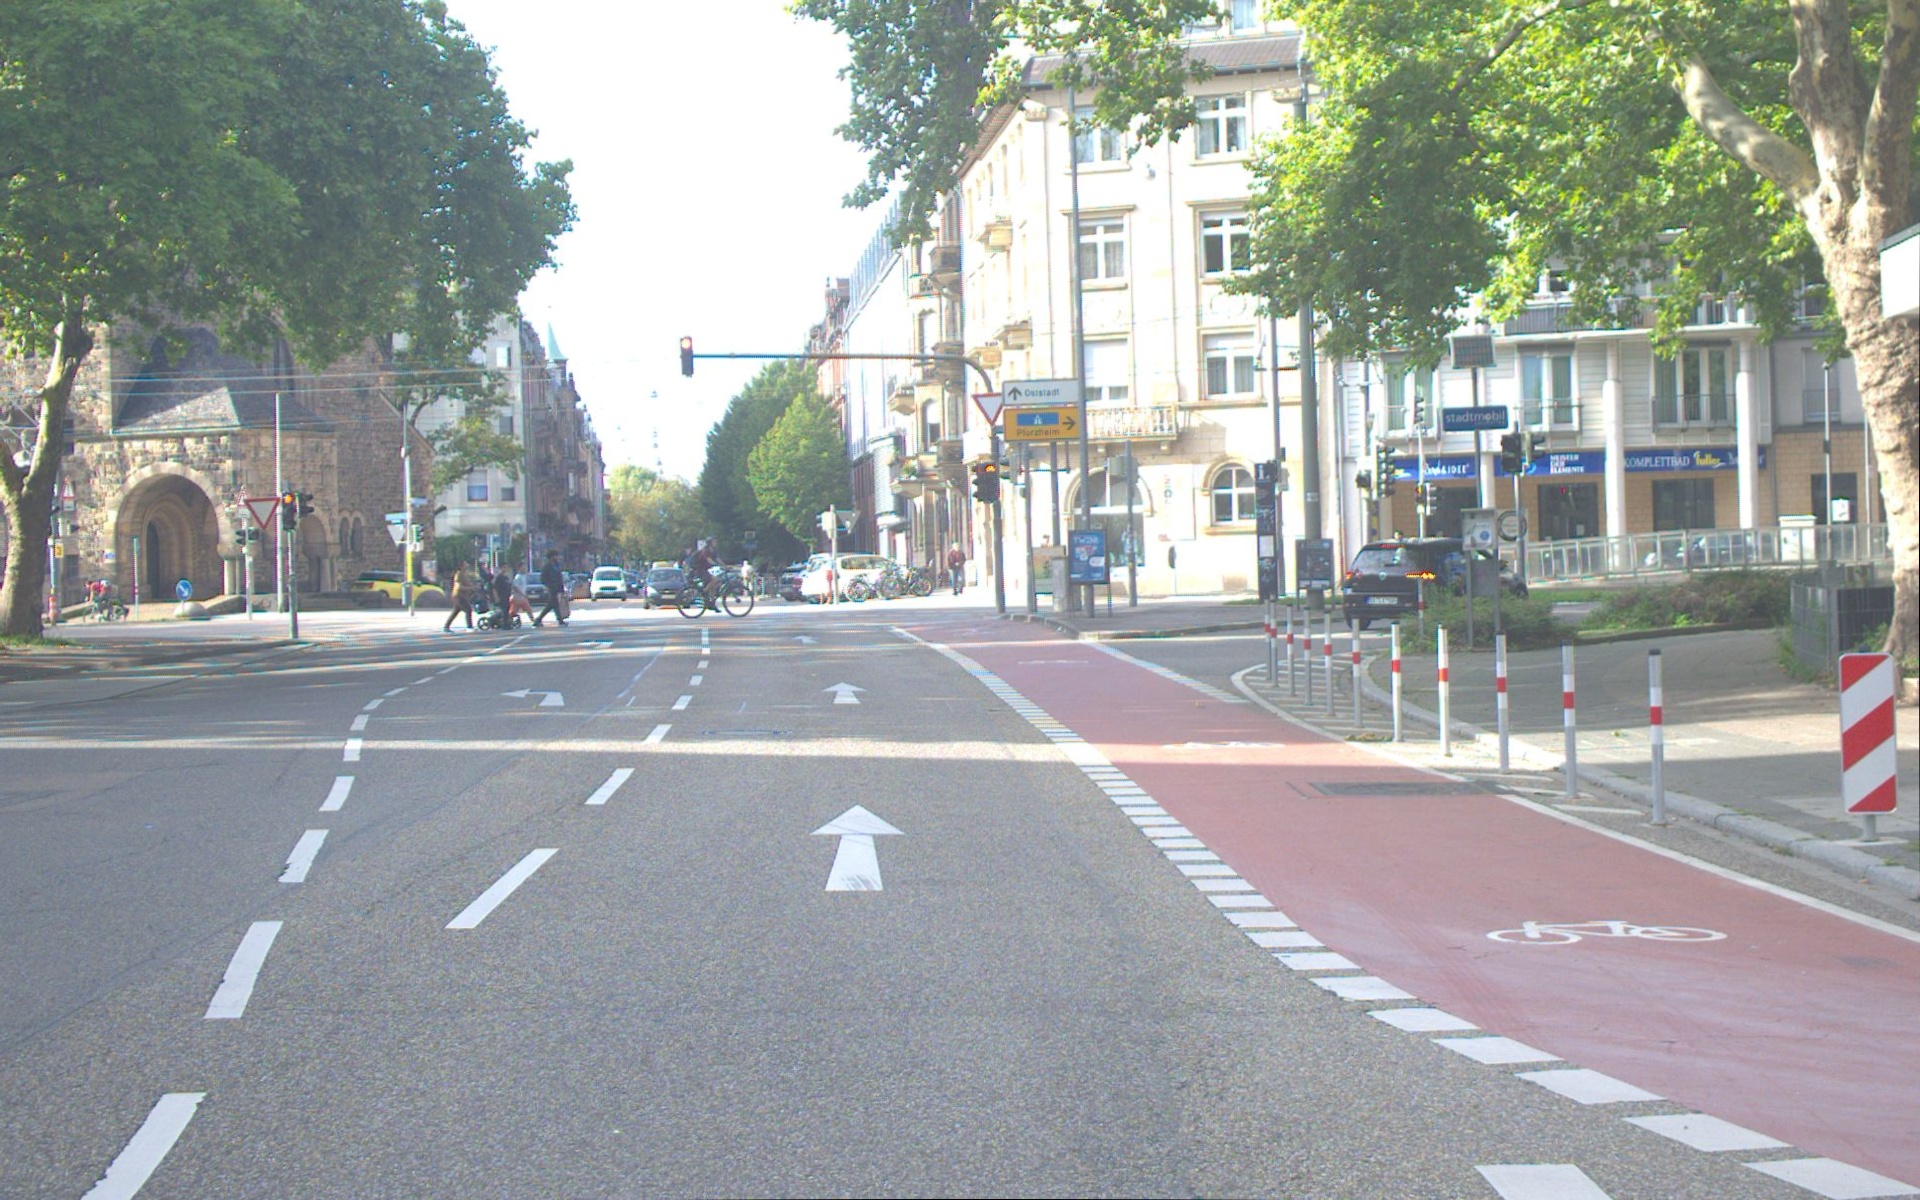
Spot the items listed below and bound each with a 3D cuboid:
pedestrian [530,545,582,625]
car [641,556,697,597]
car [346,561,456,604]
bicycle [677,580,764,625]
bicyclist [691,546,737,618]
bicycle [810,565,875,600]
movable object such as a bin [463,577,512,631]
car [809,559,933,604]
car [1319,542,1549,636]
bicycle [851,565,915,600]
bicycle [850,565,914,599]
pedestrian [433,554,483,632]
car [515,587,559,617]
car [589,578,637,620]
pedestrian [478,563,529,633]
[{"bbox_3d":[-8.583,-0.324,73.075,0.781,1.656,0.778,-1,1,19],"label":"pedestrian"},{"bbox_3d":[-10.481,-0.853,124.050,1.949,1.367,4.001,-2,1,-4],"label":"car"},{"bbox_3d":[-22.678,-0.720,139.583,3.989,1.590,1.868,-2,1,-43],"label":"car"},{"bbox_3d":[-5.291,0.060,75.863,1.832,0.952,0.572,-1,1,22],"label":"bicycle"},{"bbox_3d":[-5.437,-0.403,75.905,0.779,1.574,0.625,-1,1,22],"label":"bicyclist"},{"bbox_3d":[-3.906,-0.590,114.256,2.022,1.078,0.620,-2,1,-13],"label":"bicycle"},{"bbox_3d":[-10.025,0.081,72.981,0.838,1.120,0.575,-1,1,19],"label":"movable object such as a bin"},{"bbox_3d":[-3.032,-0.632,116.565,3.986,1.415,2.000,-2,1,-7],"label":"car"},{"bbox_3d":[7.535,-0.191,54.432,1.756,1.409,3.991,0,1,40],"label":"car"},{"bbox_3d":[-2.585,-0.587,114.862,2.022,1.078,0.631,-2,1,-13],"label":"bicycle"},{"bbox_3d":[-2.590,-0.609,114.177,2.022,1.078,0.620,-2,1,-13],"label":"bicycle"},{"bbox_3d":[-10.685,-0.150,73.189,0.815,1.623,0.604,-2,1,21],"label":"pedestrian"},{"bbox_3d":[-18.325,0.096,149.069,1.550,1.225,3.588,-1,1,-1],"label":"car"},{"bbox_3d":[-17.404,-0.060,172.405,1.993,2.007,4.000,-1,1,-1],"label":"car"},{"bbox_3d":[-9.535,-0.047,71.809,0.781,1.427,0.730,-1,1,20],"label":"pedestrian"}]
